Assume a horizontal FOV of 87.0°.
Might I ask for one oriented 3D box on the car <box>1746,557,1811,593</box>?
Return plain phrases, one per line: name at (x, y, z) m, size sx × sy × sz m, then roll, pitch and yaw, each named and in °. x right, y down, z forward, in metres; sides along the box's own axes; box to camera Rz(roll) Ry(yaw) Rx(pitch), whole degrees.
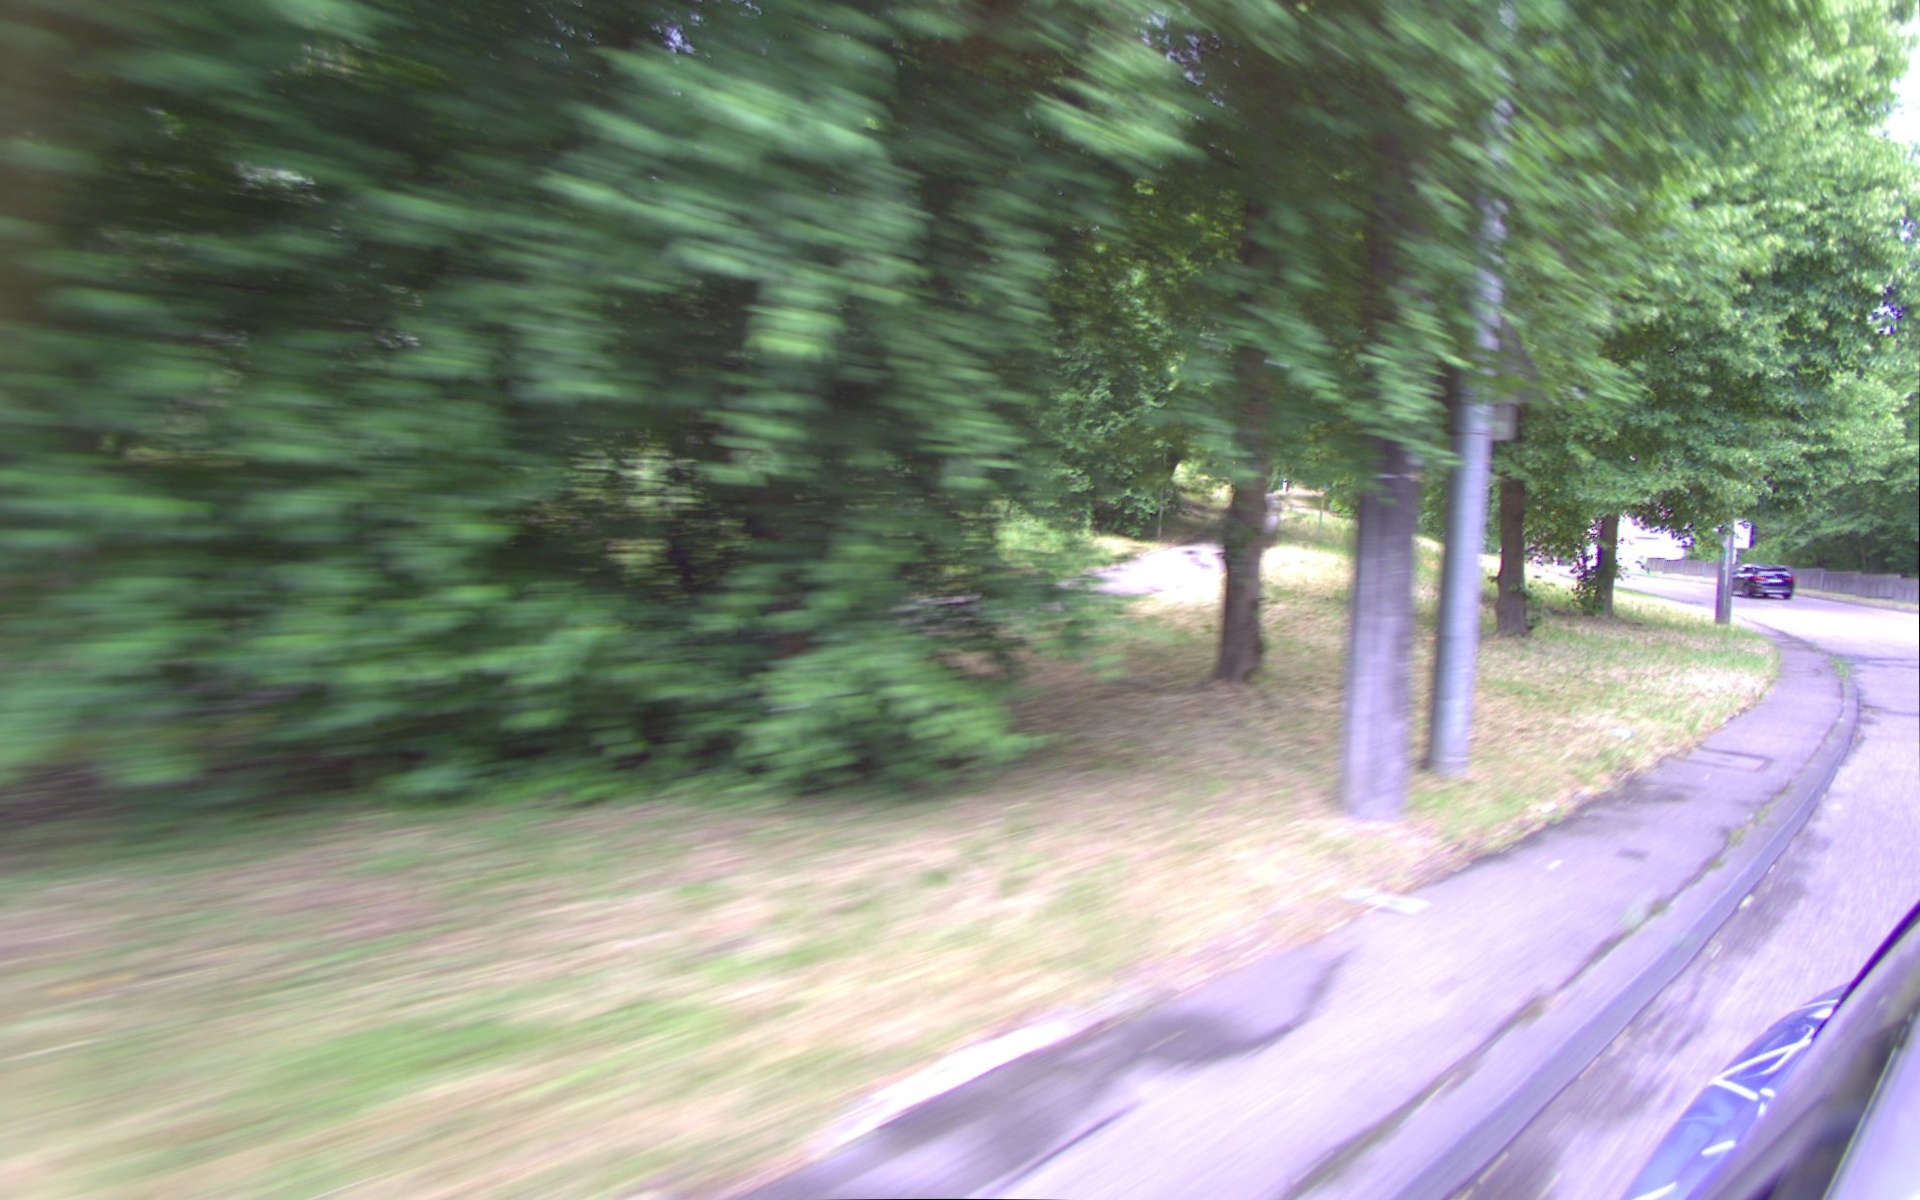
car at (39.443, -1.218, 48.871) m, size 1.716 × 1.660 × 4.014 m, roll 1°, pitch 2°, yaw 29°
